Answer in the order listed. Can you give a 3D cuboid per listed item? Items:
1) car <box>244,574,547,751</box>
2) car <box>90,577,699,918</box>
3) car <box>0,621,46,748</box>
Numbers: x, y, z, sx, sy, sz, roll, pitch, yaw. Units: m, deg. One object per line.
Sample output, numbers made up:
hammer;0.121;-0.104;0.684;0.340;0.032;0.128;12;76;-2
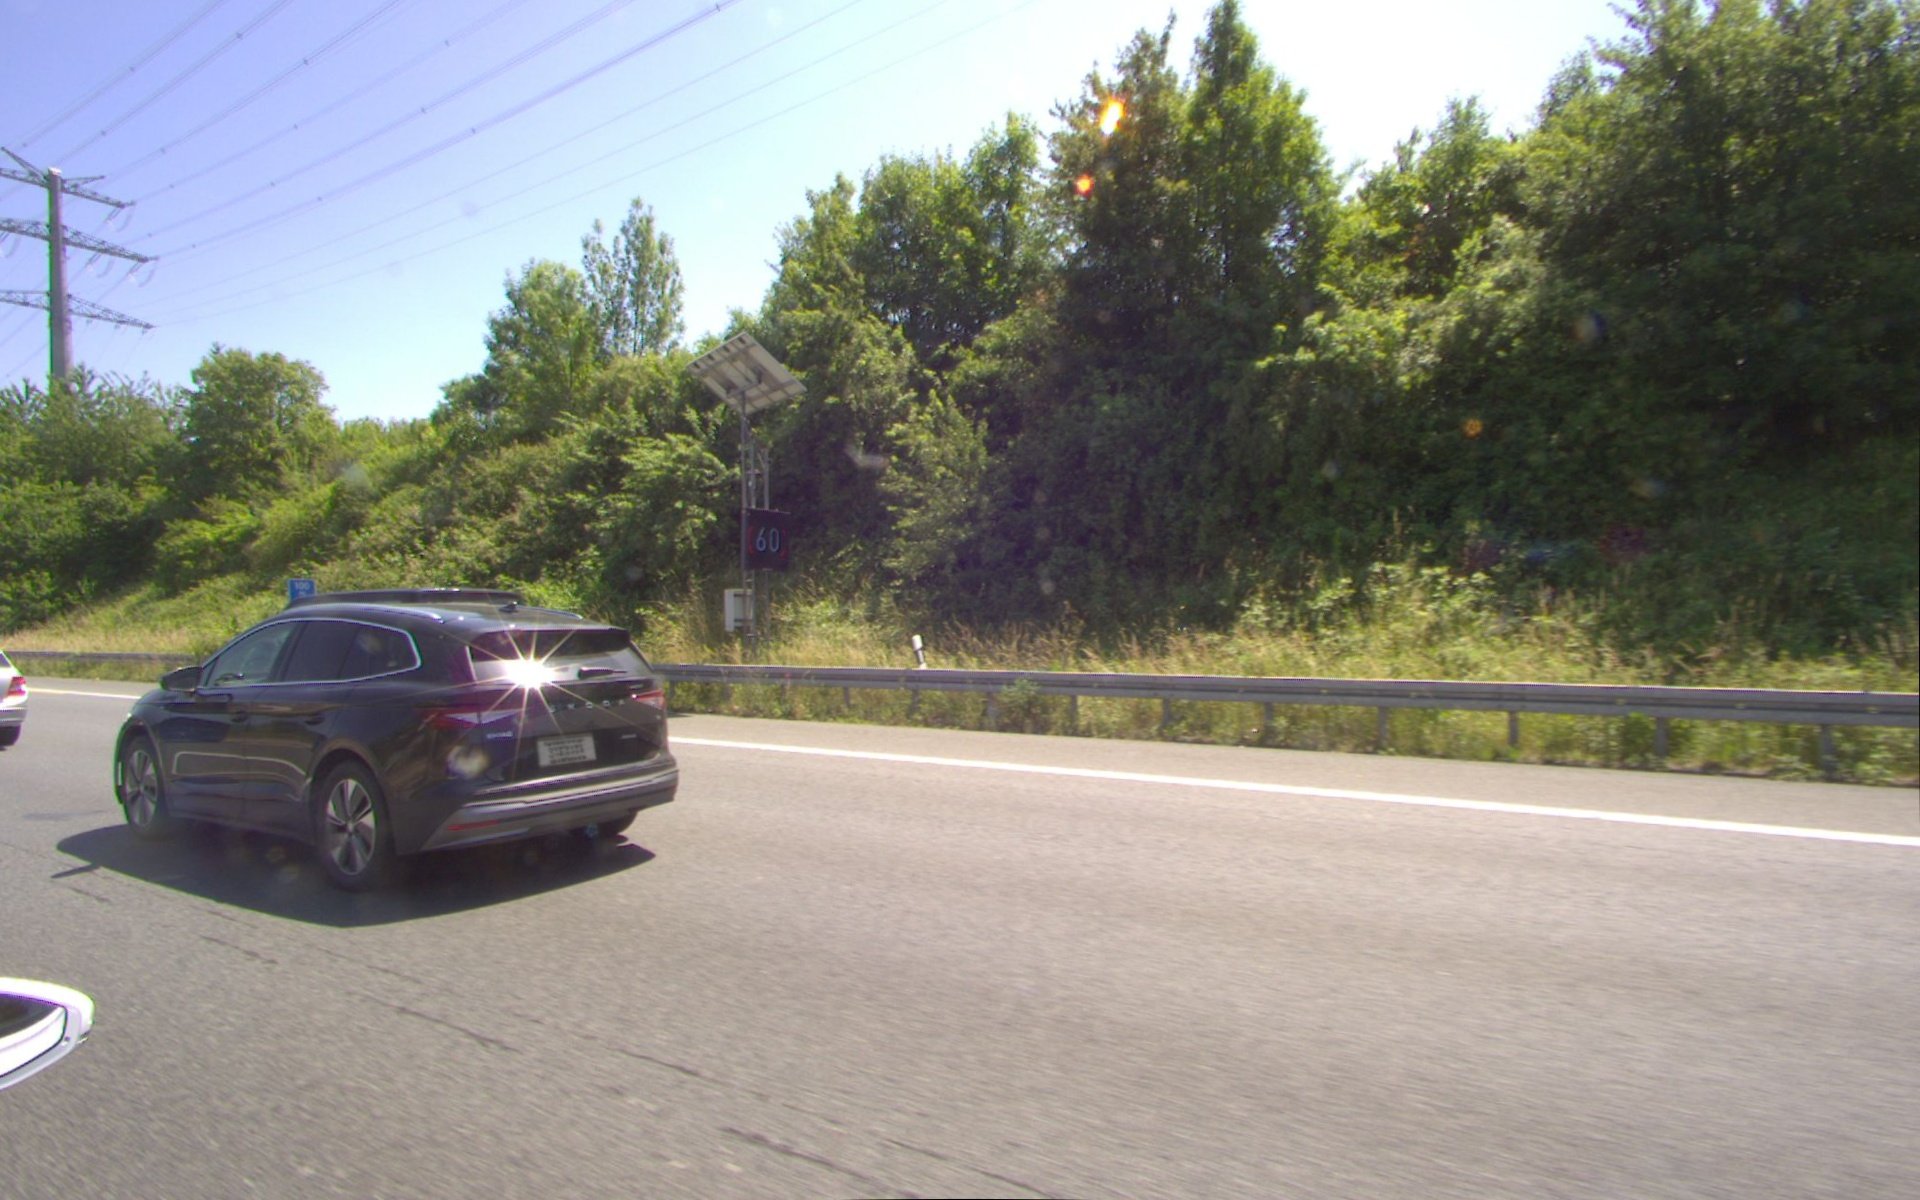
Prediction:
car;-7.625;0.789;13.441;4.167;2.039;1.795;-1;-2;32
car;-3.959;0.795;6.801;4.365;1.676;1.698;-1;-2;31
car;-13.681;1.050;12.851;4.297;1.537;1.768;-1;-2;32
